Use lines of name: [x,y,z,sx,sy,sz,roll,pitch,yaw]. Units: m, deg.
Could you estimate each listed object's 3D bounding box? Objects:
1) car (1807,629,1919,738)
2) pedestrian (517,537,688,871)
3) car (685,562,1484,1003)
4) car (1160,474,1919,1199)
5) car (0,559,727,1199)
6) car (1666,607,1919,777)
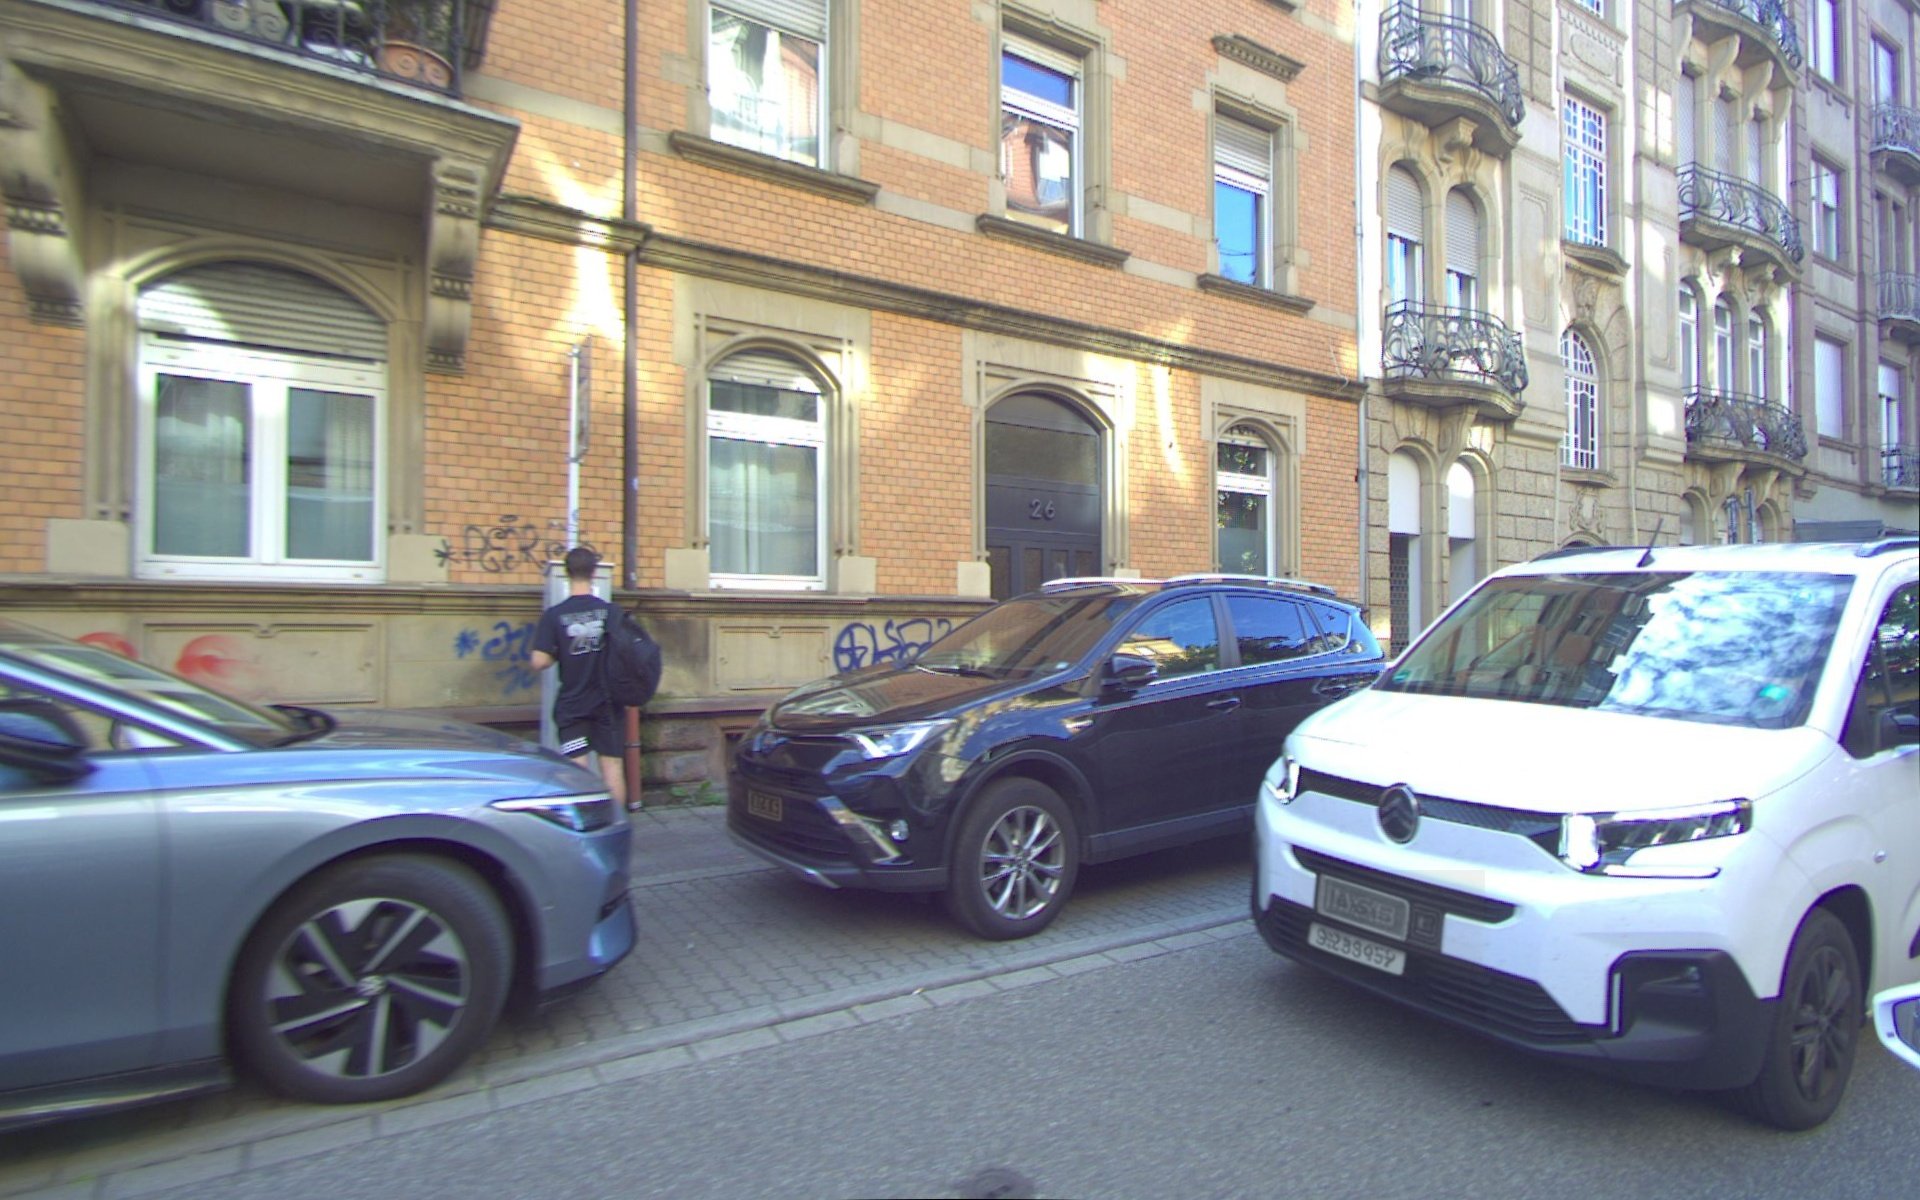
car: [14.404,1.150,14.649,4.198,1.439,1.983,1,-2,-33]
pedestrian: [-2.162,0.580,6.049,0.852,1.832,0.753,1,0,-28]
car: [1.013,0.727,6.067,4.846,1.703,1.860,1,0,-36]
car: [3.159,0.676,4.354,4.388,1.852,1.907,1,-1,-32]
car: [-3.421,0.691,2.584,5.212,1.599,1.813,1,-1,-36]
car: [10.464,0.982,11.850,4.793,1.650,1.781,2,-2,-32]
